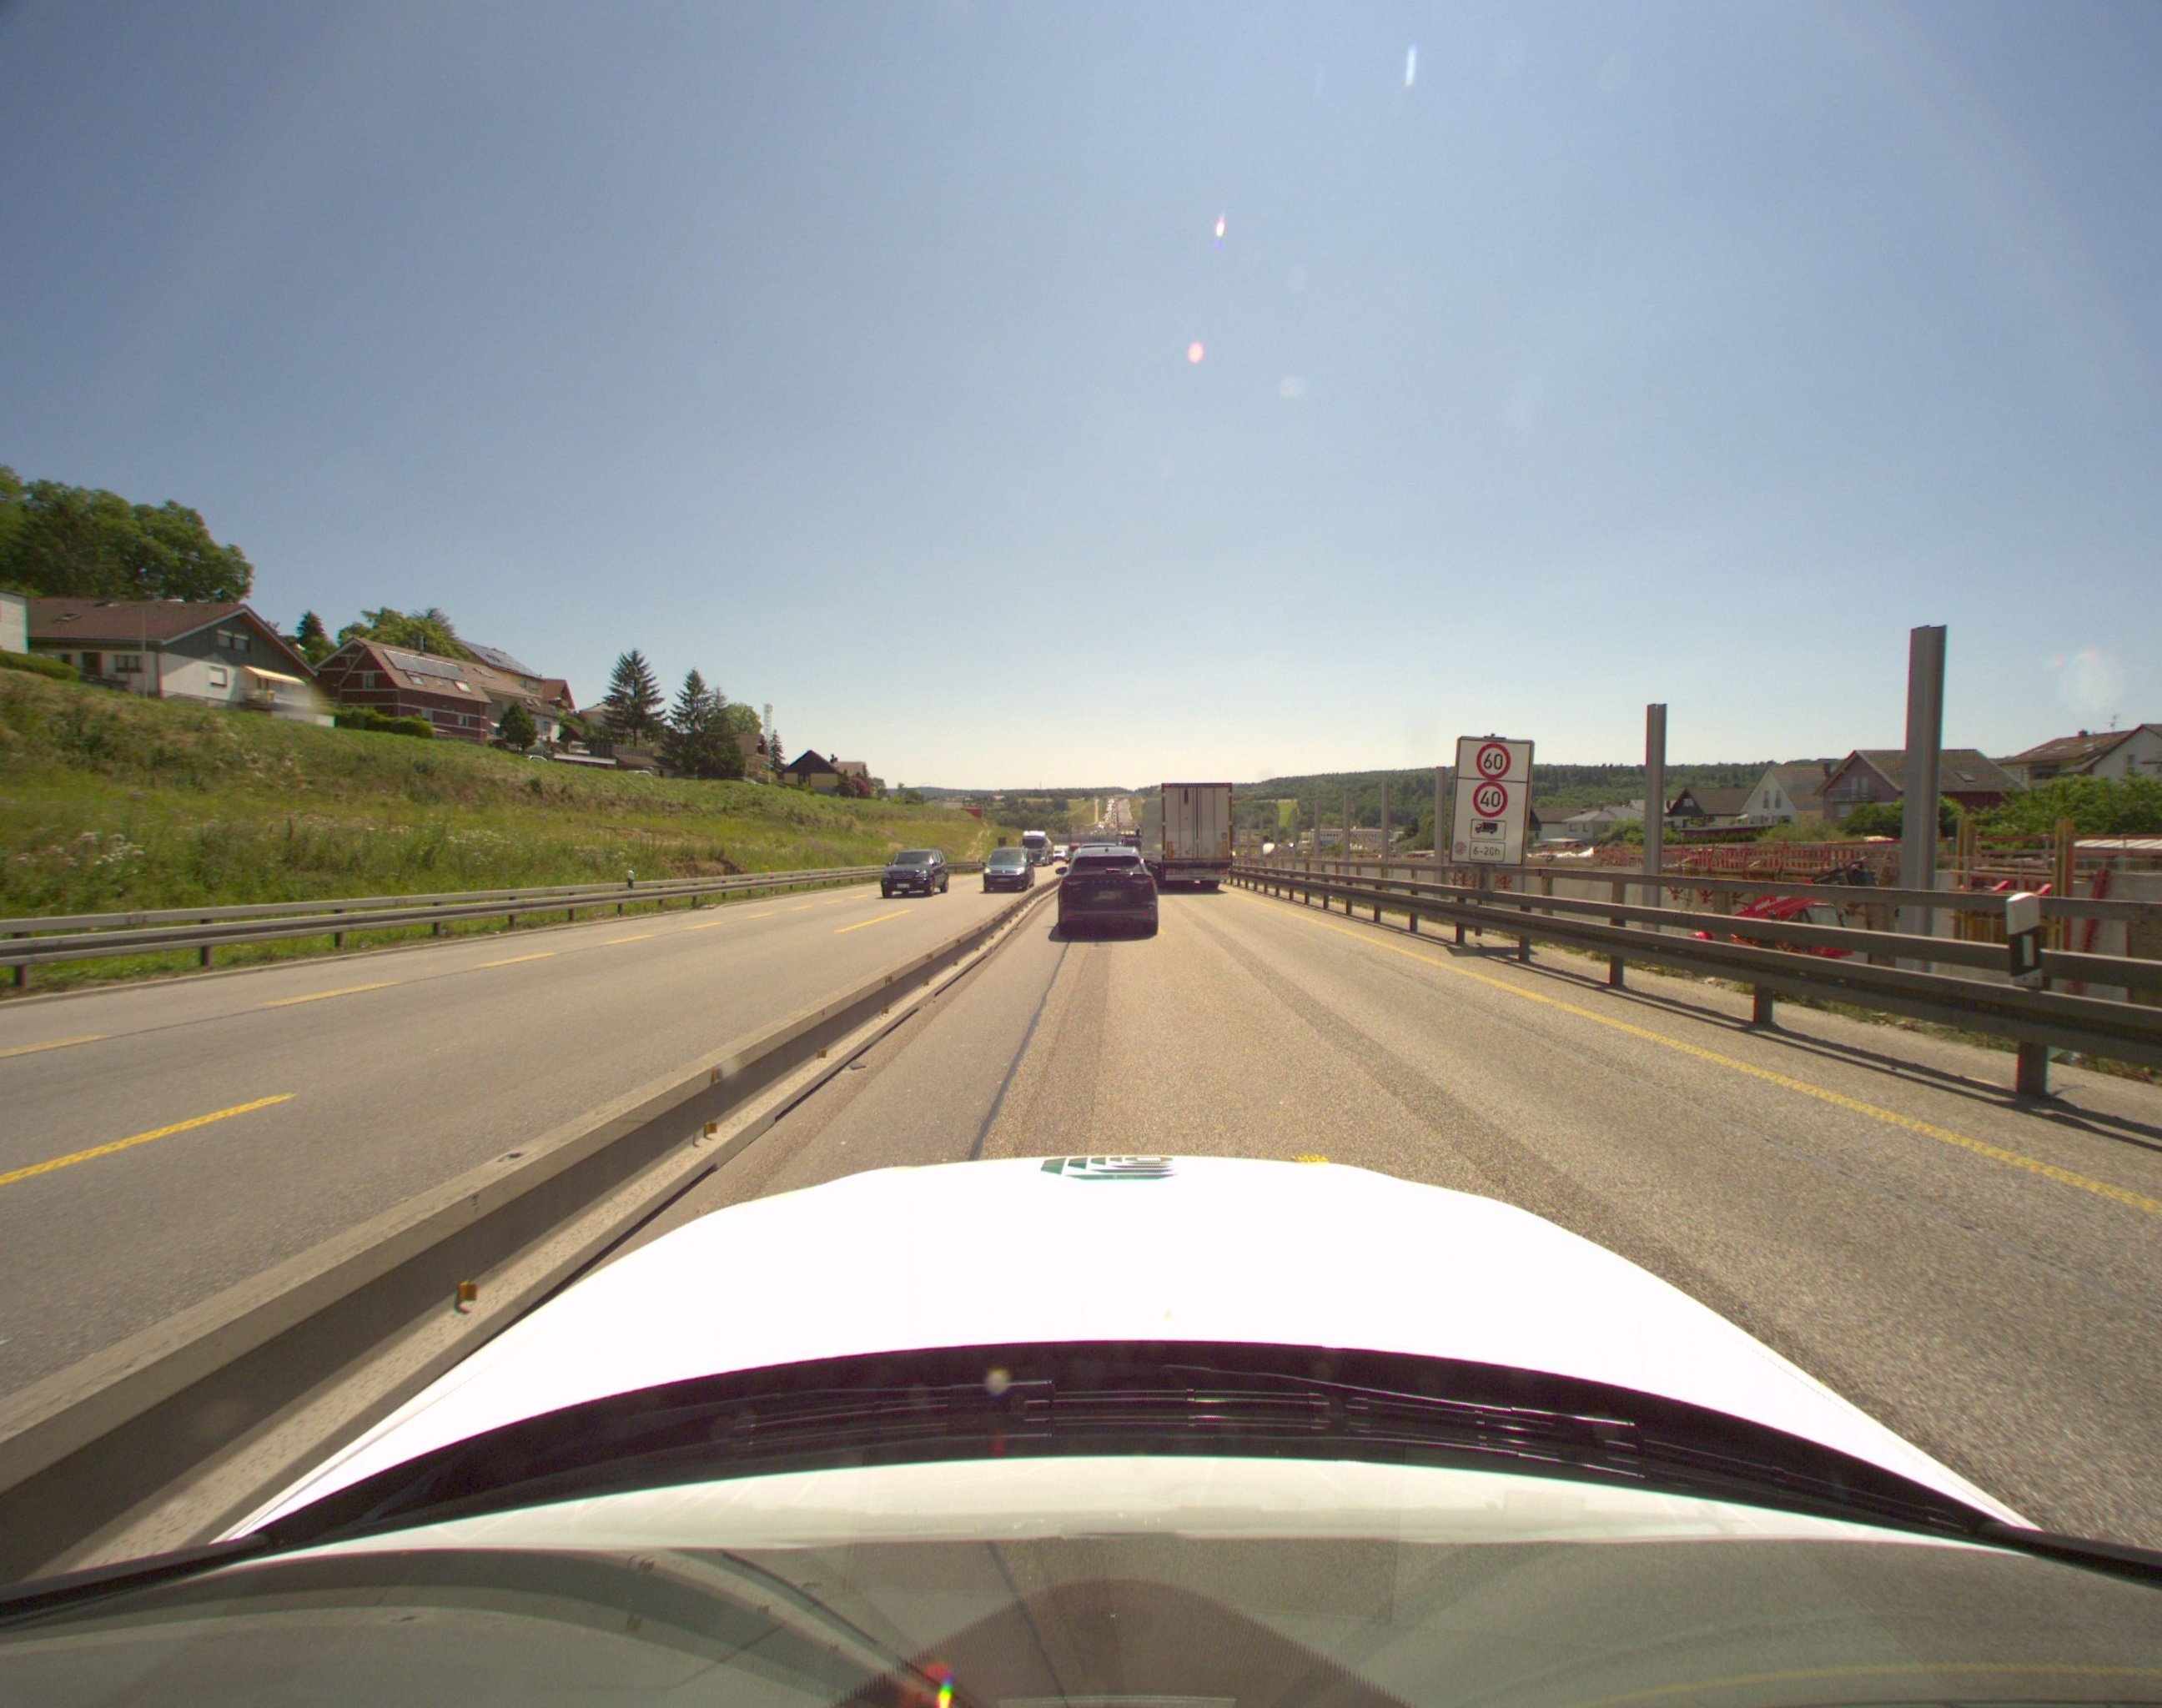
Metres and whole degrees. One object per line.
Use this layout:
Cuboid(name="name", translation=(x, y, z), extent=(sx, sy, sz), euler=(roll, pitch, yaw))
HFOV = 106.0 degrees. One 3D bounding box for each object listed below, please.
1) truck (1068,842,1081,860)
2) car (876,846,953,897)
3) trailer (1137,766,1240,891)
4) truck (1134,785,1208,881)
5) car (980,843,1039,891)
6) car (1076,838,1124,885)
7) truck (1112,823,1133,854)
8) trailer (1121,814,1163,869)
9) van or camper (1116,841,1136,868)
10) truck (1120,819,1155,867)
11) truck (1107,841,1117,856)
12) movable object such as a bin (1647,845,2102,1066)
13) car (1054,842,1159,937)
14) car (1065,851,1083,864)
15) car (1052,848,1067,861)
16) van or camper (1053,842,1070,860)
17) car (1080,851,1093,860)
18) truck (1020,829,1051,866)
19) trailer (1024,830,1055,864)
Cuboid(name="truck", translation=(-1.697, -0.737, 205.241), extent=(2.842, 4.140, 11.919), euler=(-1, -1, 1))
Cuboid(name="car", translation=(-6.226, 0.608, 30.974), extent=(1.821, 1.766, 4.498), euler=(-2, 0, 2))
Cuboid(name="trailer", translation=(4.354, -0.981, 36.133), extent=(3.168, 4.512, 13.114), euler=(-1, 0, 2))
Cuboid(name="truck", translation=(4.533, -1.034, 42.630), extent=(3.168, 4.512, 8.169), euler=(-1, 0, 2))
Cuboid(name="car", translation=(-2.853, 0.502, 33.483), extent=(1.839, 1.777, 4.883), euler=(-1, 0, 1))
Cuboid(name="car", translation=(0.854, 0.346, 35.993), extent=(1.986, 1.926, 4.508), euler=(-1, -1, 1))
Cuboid(name="truck", translation=(6.428, -2.269, 127.963), extent=(2.842, 4.465, 11.919), euler=(-1, -1, 1))
Cuboid(name="trailer", translation=(5.391, -0.939, 75.051), extent=(3.168, 4.513, 14.971), euler=(-1, -1, 2))
Cuboid(name="van or camper", translation=(5.733, 0.147, 102.348), extent=(2.378, 3.281, 6.475), euler=(-1, -1, 4))
Cuboid(name="truck", translation=(5.607, -1.020, 82.123), extent=(3.168, 4.513, 8.168), euler=(-1, -1, 2))
Cuboid(name="truck", translation=(8.779, -1.467, 231.588), extent=(2.630, 4.194, 9.287), euler=(-1, -1, 2))
Cuboid(name="movable object such as a bin", translation=(20.566, 2.274, 22.507), extent=(3.215, 4.743, 9.657), euler=(-1, -1, 1))
Cuboid(name="car", translation=(0.527, 0.628, 16.047), extent=(1.795, 1.607, 4.002), euler=(-1, 0, 2))
Cuboid(name="car", translation=(-0.843, 0.431, 99.685), extent=(1.887, 1.414, 4.682), euler=(-1, 0, 2))
Cuboid(name="car", translation=(-3.357, 0.078, 125.860), extent=(1.986, 1.971, 5.345), euler=(-1, 0, 2))
Cuboid(name="van or camper", translation=(-3.153, -0.479, 132.461), extent=(2.348, 2.676, 7.861), euler=(-1, 0, 2))
Cuboid(name="car", translation=(0.890, 0.215, 128.125), extent=(1.905, 1.480, 4.639), euler=(-1, 0, 2))
Cuboid(name="truck", translation=(-4.773, -0.677, 86.607), extent=(2.769, 3.672, 6.278), euler=(-1, 0, 1))
Cuboid(name="trailer", translation=(-4.611, -0.730, 92.710), extent=(2.707, 3.594, 11.797), euler=(-1, 0, 1))
